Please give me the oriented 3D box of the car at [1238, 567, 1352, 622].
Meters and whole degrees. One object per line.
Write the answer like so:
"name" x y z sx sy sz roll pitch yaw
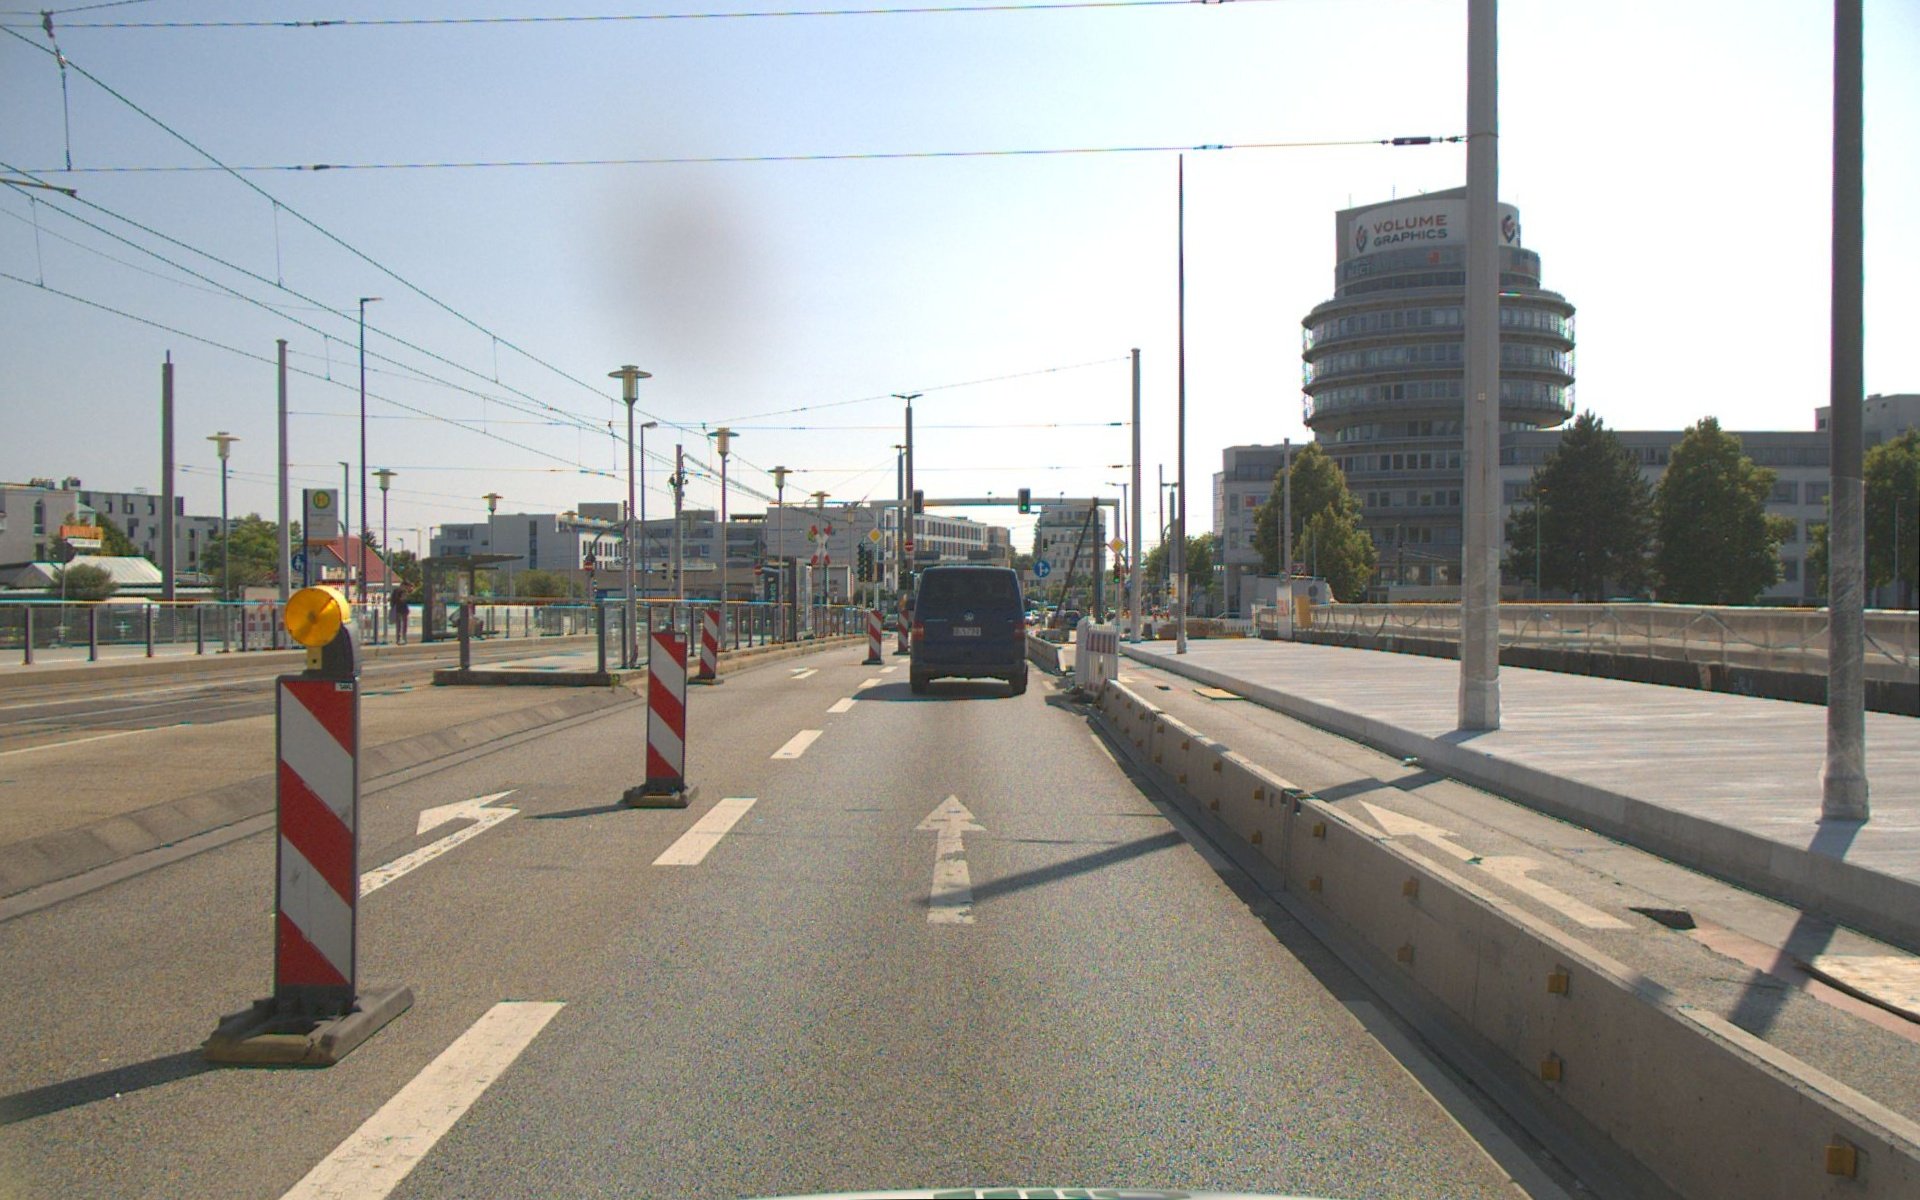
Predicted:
"car" 18.793 -0.327 92.854 5.857 2.937 2.335 1 1 -18

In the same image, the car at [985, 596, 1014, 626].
"car" 2.438 0.666 101.155 1.611 1.758 3.719 1 0 3

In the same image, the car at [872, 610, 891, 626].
"car" -7.671 1.745 161.916 1.711 1.512 4.000 -1 0 0

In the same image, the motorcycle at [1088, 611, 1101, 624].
"motorcycle" 14.622 1.919 179.145 1.137 1.264 3.010 2 1 9

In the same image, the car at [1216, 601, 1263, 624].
"car" 23.752 1.090 140.451 3.734 1.829 1.681 1 1 1

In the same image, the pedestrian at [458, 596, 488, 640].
"pedestrian" -14.405 0.519 48.908 0.634 1.296 0.697 0 0 4

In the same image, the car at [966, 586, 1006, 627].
"car" 1.195 0.289 74.452 1.611 1.758 4.002 1 0 3

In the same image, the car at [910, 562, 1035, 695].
"car" 0.133 0.404 26.984 1.850 1.968 3.999 1 1 -2

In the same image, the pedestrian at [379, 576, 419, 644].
"pedestrian" -14.004 0.244 41.310 0.646 1.683 0.740 0 0 12

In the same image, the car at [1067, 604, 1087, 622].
"car" 9.949 1.097 140.841 1.708 1.501 3.886 0 0 3

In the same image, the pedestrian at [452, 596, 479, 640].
"pedestrian" -14.446 0.523 48.320 0.634 1.296 0.453 0 0 4
